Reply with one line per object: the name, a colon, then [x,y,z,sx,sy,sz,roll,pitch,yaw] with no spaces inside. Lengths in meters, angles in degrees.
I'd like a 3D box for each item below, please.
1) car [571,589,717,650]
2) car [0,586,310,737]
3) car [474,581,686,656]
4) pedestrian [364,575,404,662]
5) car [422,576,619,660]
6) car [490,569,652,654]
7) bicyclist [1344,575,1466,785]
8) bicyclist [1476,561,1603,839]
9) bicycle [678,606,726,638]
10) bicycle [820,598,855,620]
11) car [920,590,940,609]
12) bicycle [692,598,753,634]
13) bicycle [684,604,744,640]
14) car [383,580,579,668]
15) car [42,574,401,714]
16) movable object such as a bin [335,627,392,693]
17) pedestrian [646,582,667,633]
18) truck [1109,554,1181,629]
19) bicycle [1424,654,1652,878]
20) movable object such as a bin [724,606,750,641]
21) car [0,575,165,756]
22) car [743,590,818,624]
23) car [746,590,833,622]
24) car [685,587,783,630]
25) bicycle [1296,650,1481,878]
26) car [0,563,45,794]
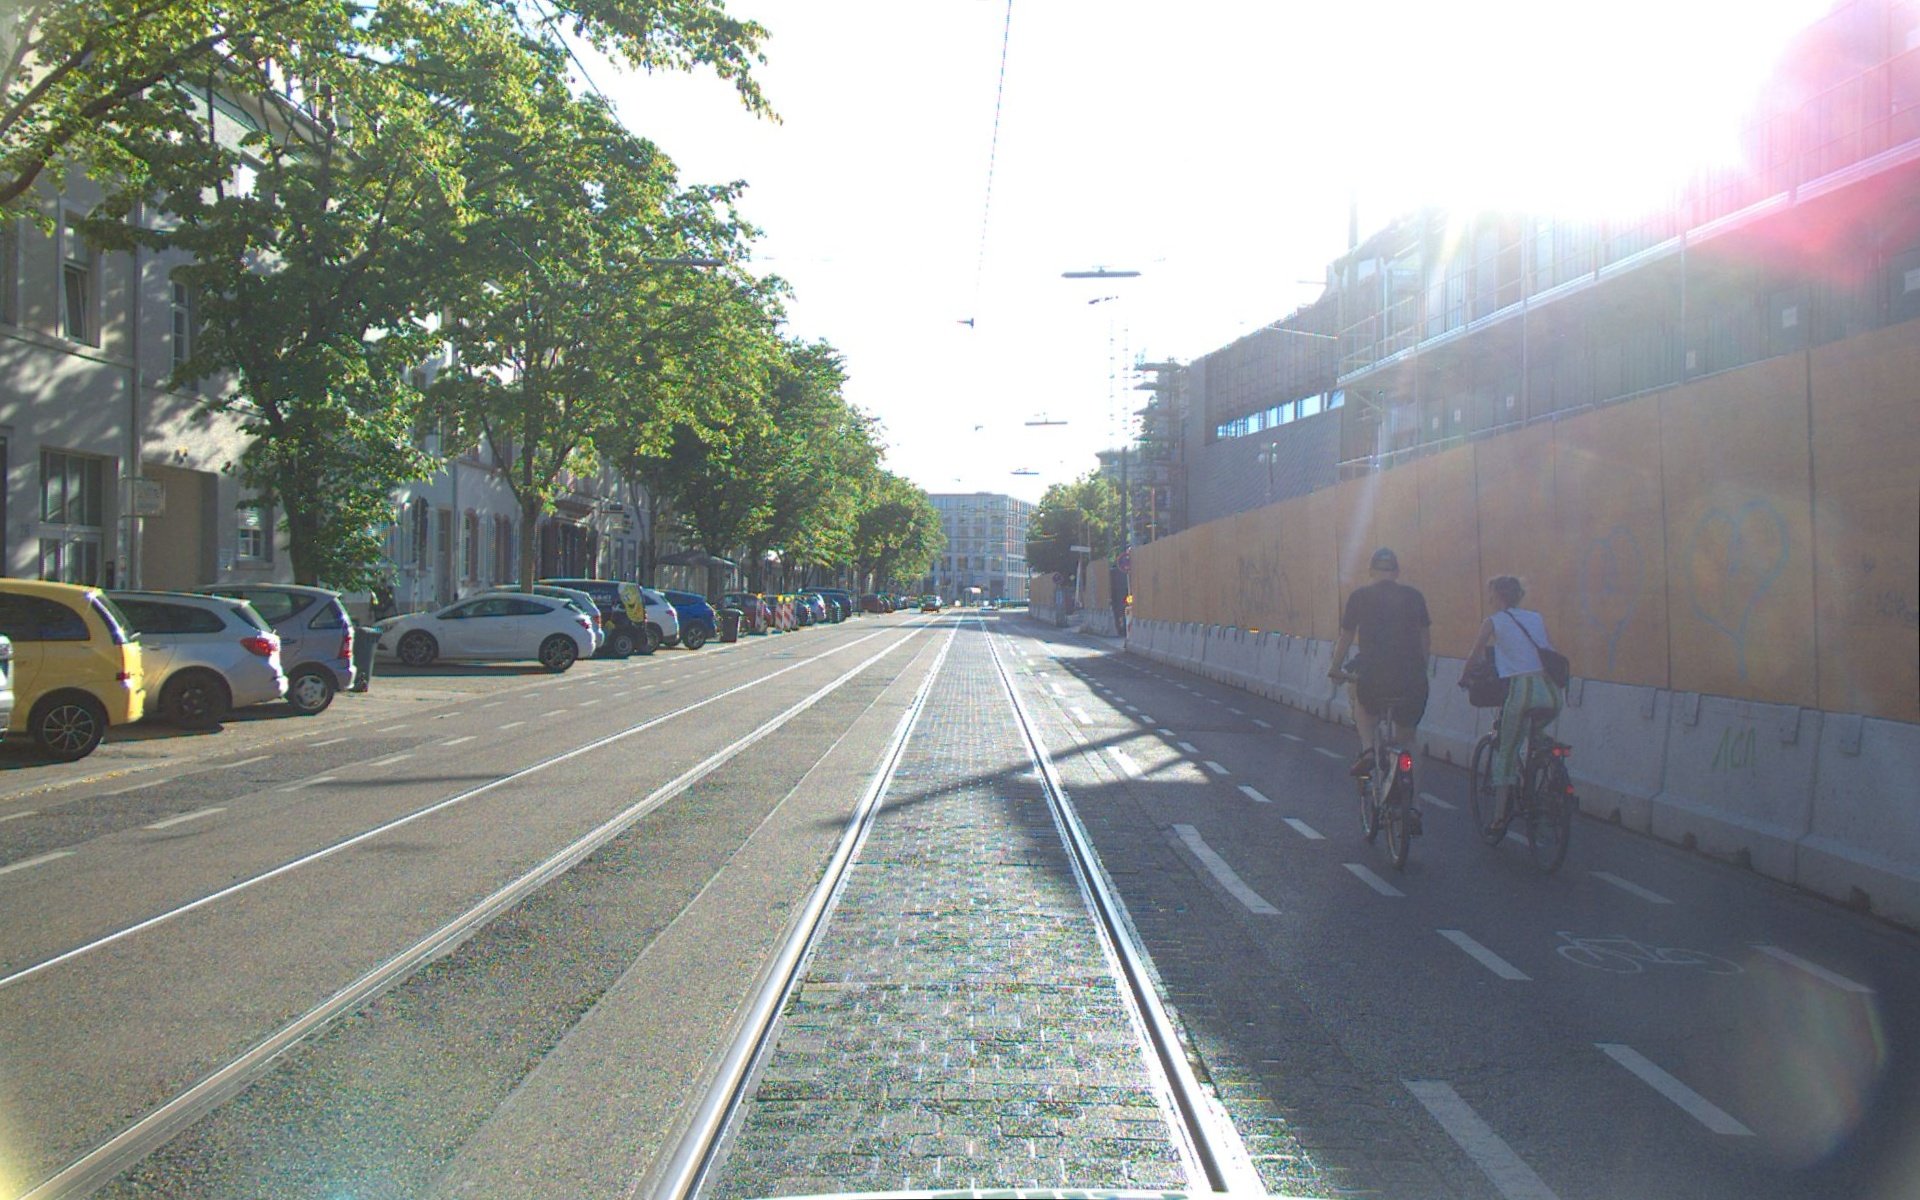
car: [-9.078,0.542,47.636,3.860,1.637,1.553,-1,0,-37]
car: [-9.709,0.662,18.828,4.090,1.579,1.695,-1,0,-16]
car: [-9.708,0.440,42.474,4.891,1.826,2.178,0,0,-39]
pedestrian: [-12.532,0.391,36.015,0.630,1.870,0.624,0,0,2]
car: [-9.886,0.419,37.260,3.944,1.685,1.793,3,1,-30]
car: [-9.328,0.321,39.756,3.405,1.875,1.712,3,-4,-35]
bicyclist: [2.735,0.481,10.184,0.638,1.259,0.353,-1,0,-2]
bicyclist: [3.529,0.590,10.098,0.545,1.641,0.576,-1,0,-2]
bicycle: [-8.555,0.726,54.854,1.570,1.005,0.388,2,0,-10]
bicycle: [-7.045,0.527,95.108,1.935,1.164,0.490,2,-1,-18]
car: [-2.919,-0.021,161.334,1.888,1.657,4.249,-3,1,0]
bicycle: [-8.294,0.563,57.861,1.961,1.106,0.568,4,0,3]
bicycle: [-8.398,0.751,56.534,1.927,1.098,0.569,3,0,3]
car: [-9.563,0.474,32.998,3.581,1.556,1.876,3,-1,-20]
car: [-9.563,0.543,21.630,3.905,1.706,1.703,1,0,1]
movable object such as a bin: [-8.974,0.896,24.905,0.609,0.961,0.670,0,0,-1]
pedestrian: [-12.349,0.299,67.332,0.716,2.049,0.556,0,0,2]
truck: [7.799,-0.368,70.363,2.467,2.959,5.508,-3,0,2]
bicycle: [3.543,0.963,10.361,0.546,1.146,2.275,-1,0,-2]
movable object such as a bin: [-7.316,0.771,54.229,0.669,1.096,0.710,3,0,2]
car: [-9.267,0.566,15.277,3.329,1.579,1.370,3,1,-31]
car: [-8.897,0.349,82.035,3.324,1.519,1.599,2,0,-28]
car: [-8.758,0.314,84.935,4.054,1.539,1.826,2,0,-26]
car: [-9.127,0.334,66.916,3.568,1.580,1.655,2,1,-26]
bicycle: [2.621,0.949,10.362,0.653,1.175,2.277,1,0,3]
car: [-9.641,0.594,12.033,4.731,1.754,2.163,0,0,-2]
